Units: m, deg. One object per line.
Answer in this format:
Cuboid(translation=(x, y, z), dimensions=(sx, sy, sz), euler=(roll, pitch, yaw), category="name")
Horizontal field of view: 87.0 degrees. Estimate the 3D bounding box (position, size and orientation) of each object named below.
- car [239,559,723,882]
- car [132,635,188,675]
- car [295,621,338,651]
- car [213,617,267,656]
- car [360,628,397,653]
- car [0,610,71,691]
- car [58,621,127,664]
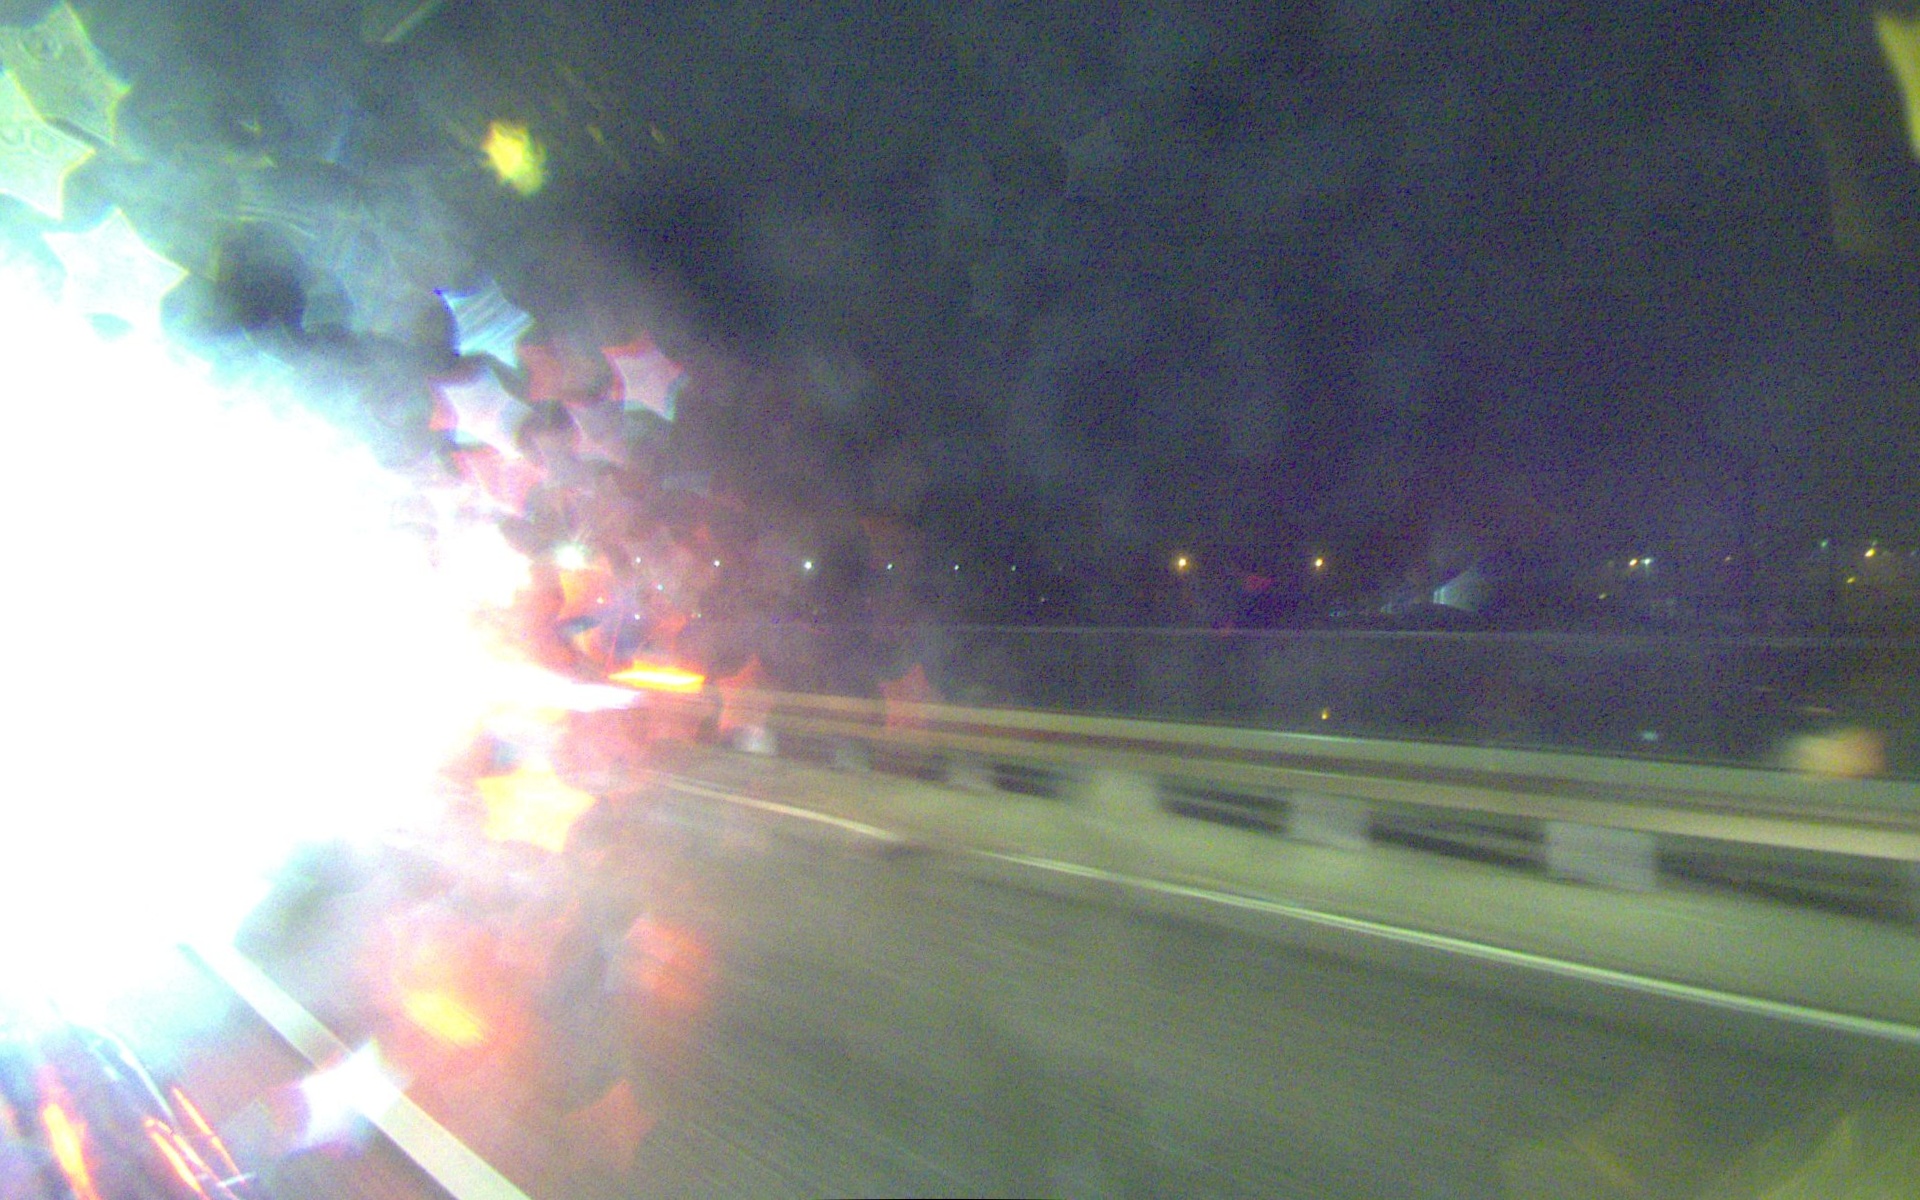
Cuboid(translation=(-3.748, 0.684, 7.521), dimensions=(4.314, 1.717, 1.759), euler=(-1, -2, 43), category="car")
Cuboid(translation=(-38.413, 2.632, 48.667), dimensions=(1.284, 1.539, 3.056), euler=(-10, 5, -26), category="car")
Cuboid(translation=(-50.157, 2.832, 78.954), dimensions=(1.629, 2.028, 4.011), euler=(-8, -1, -17), category="car")
Cuboid(translation=(-45.041, 2.317, 63.379), dimensions=(1.628, 2.028, 4.012), euler=(-8, -1, -22), category="car")
Cuboid(translation=(-53.720, 3.713, 93.547), dimensions=(1.629, 2.028, 4.009), euler=(-8, -1, -12), category="car")
Cuboid(translation=(-25.662, 1.310, 27.359), dimensions=(1.967, 2.029, 4.010), euler=(3, -2, -36), category="car")
Cuboid(translation=(-32.715, 1.594, 38.232), dimensions=(1.498, 1.537, 3.116), euler=(0, -2, -31), category="car")
